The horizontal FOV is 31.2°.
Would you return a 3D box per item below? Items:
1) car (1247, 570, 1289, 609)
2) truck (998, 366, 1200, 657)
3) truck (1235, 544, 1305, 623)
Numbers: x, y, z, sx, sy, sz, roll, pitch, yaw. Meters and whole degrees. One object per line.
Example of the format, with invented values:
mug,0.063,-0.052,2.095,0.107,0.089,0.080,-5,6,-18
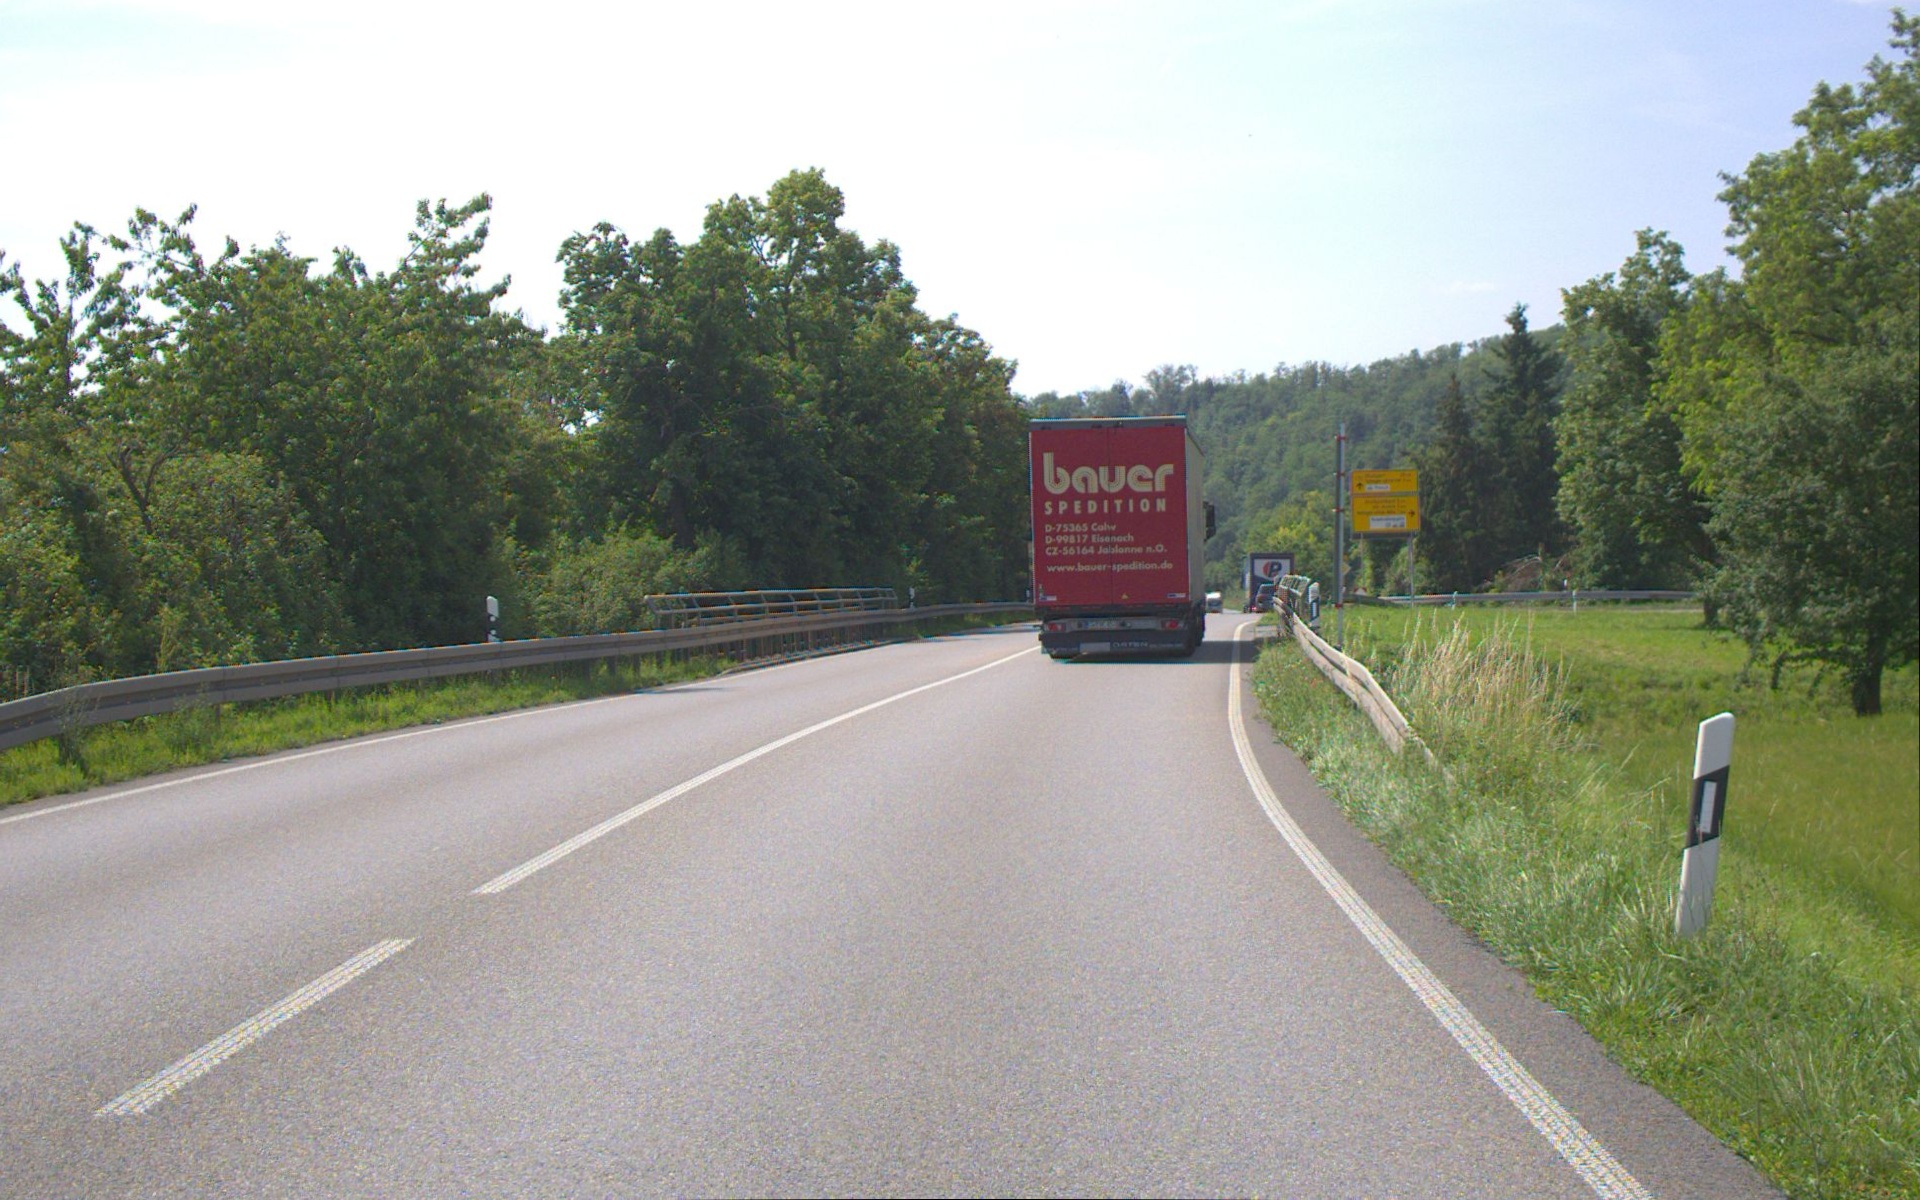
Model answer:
car,15.736,-0.524,175.597,1.994,1.804,3.999,2,-1,6
truck,2.664,-1.494,61.840,3.173,4.609,13.542,-1,1,4
truck,18.742,-0.921,206.800,3.906,4.355,13.288,1,-1,6
